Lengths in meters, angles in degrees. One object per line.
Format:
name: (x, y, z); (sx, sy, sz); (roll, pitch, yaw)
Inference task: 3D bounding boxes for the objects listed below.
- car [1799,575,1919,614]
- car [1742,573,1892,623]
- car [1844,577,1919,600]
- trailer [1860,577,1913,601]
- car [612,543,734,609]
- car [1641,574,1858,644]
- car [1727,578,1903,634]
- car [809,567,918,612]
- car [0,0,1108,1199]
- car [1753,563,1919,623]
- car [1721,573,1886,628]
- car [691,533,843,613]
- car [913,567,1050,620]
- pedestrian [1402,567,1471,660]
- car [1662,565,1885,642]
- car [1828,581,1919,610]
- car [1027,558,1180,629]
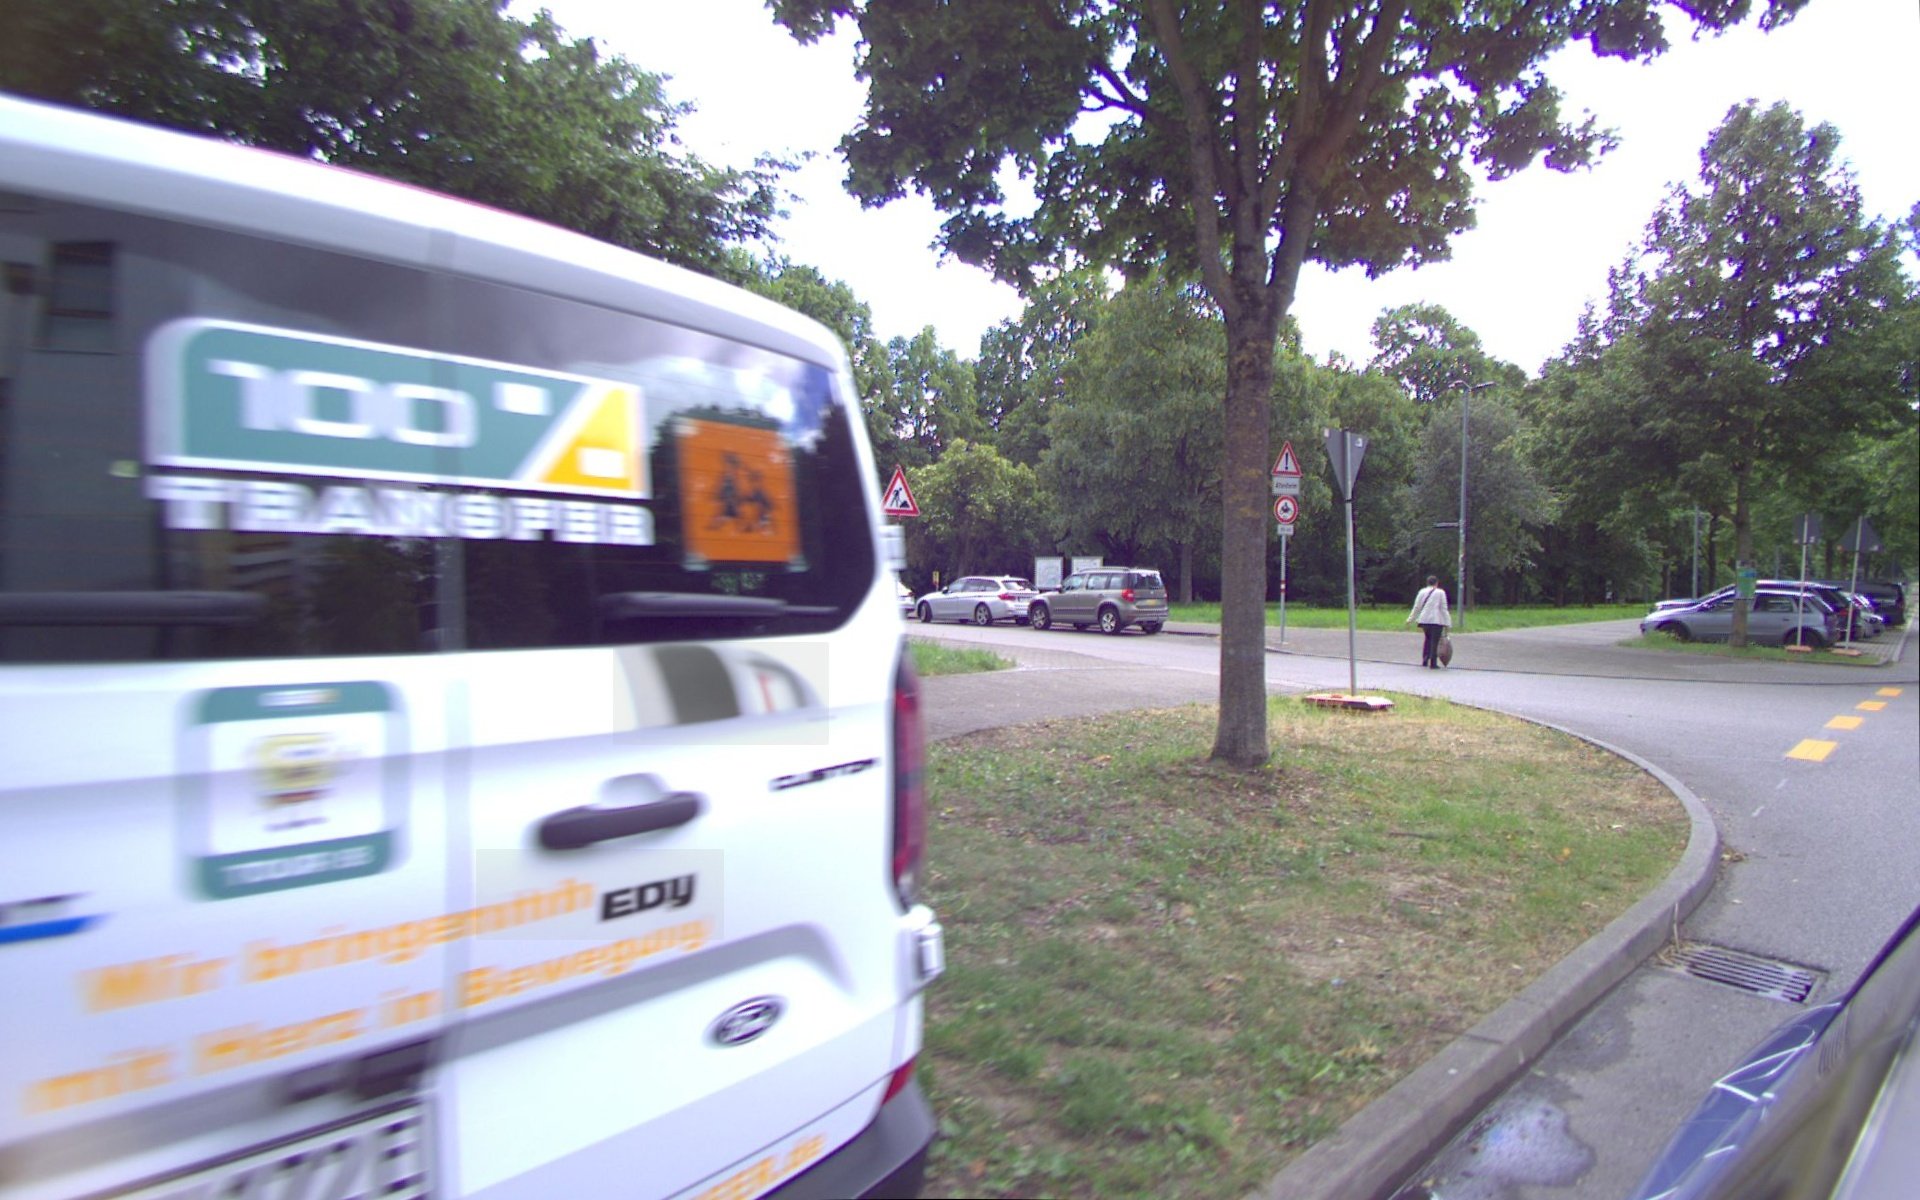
car: (45.494, -0.298, 51.234); (4.418, 1.696, 2.049); (4, 3, 45)
car: (31.166, -0.106, 36.885); (1.764, 1.529, 3.966); (0, 4, -44)
car: (77.756, -0.971, 85.118); (1.940, 1.714, 4.827); (0, 3, -42)
trailer: (74.292, -0.916, 81.230); (3.029, 1.812, 1.540); (4, 3, 42)
car: (-9.865, -0.834, 34.471); (2.099, 2.082, 5.332); (0, 2, -39)
car: (18.812, 0.147, 24.230); (1.821, 1.420, 3.837); (-1, 4, -43)
car: (26.315, 0.134, 31.221); (3.990, 1.447, 1.905); (4, 4, 45)
car: (-3.428, -0.417, 35.254); (1.672, 1.445, 4.440); (-1, 2, -38)
car: (-2.152, 0.252, 2.827); (1.816, 1.996, 4.978); (0, 3, -44)
car: (34.788, -0.346, 40.130); (2.130, 2.038, 4.961); (0, 4, -44)
car: (27.843, -0.035, 33.472); (1.781, 1.546, 3.991); (-1, 4, -44)
car: (-5.704, -0.792, 29.323); (2.099, 2.082, 5.332); (0, 2, -39)
car: (0.564, -0.249, 30.356); (1.673, 1.445, 4.403); (-1, 2, -39)
pedestrian: (8.478, 0.217, 18.004); (0.795, 1.596, 0.836); (0, 1, -39)
car: (20.689, 0.012, 25.871); (1.946, 1.670, 4.132); (-1, 4, -41)
car: (54.558, -0.288, 60.349); (1.821, 1.474, 4.077); (-1, 3, -44)
car: (3.636, -0.233, 26.239); (1.735, 1.689, 3.790); (0, 2, -38)
